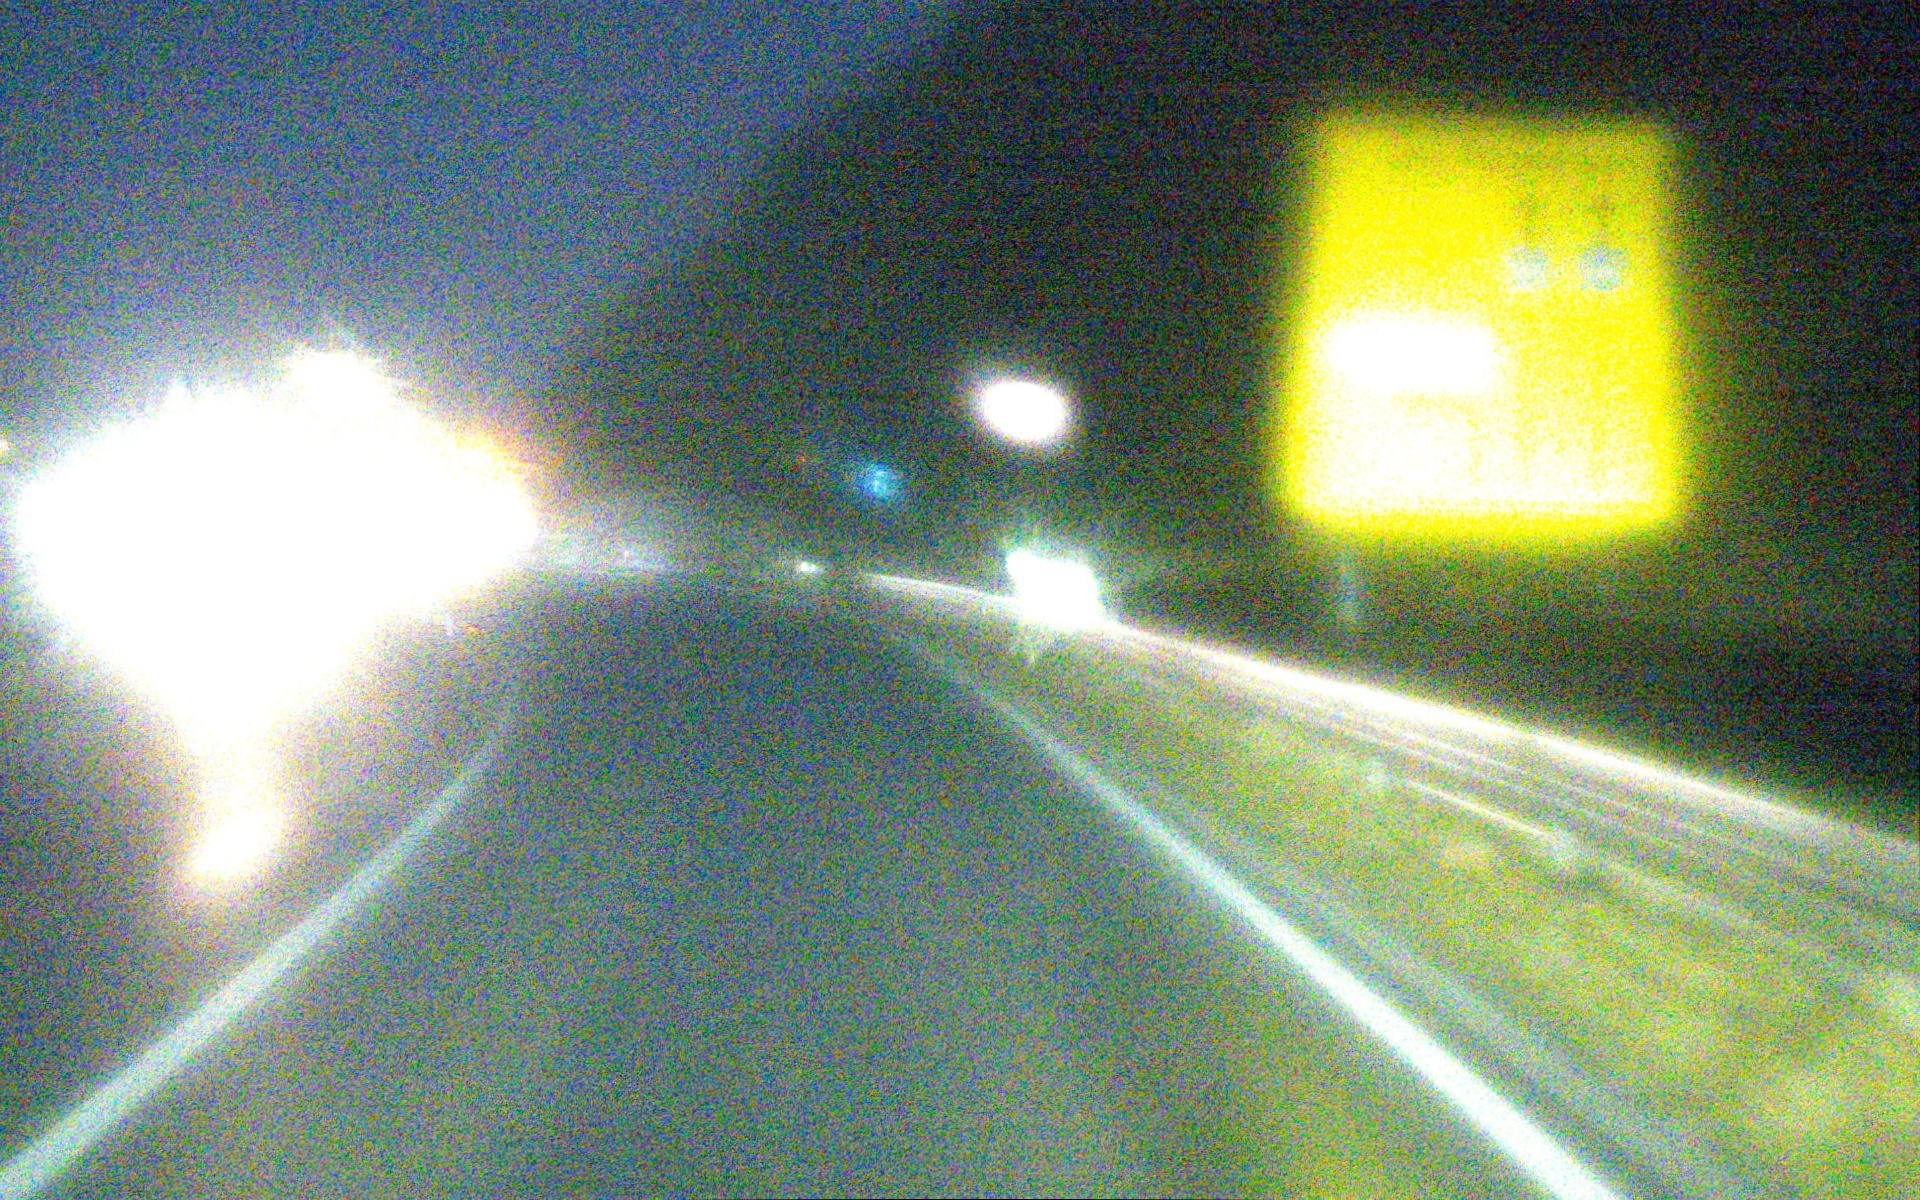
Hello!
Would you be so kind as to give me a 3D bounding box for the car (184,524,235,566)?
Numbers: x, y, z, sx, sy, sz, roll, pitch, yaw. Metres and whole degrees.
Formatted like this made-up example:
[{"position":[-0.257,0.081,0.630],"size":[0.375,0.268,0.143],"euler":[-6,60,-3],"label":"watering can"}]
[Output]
[{"position":[-29.433,-2.154,134.807],"size":[1.880,1.595,3.901],"euler":[0,1,-14],"label":"car"}]
